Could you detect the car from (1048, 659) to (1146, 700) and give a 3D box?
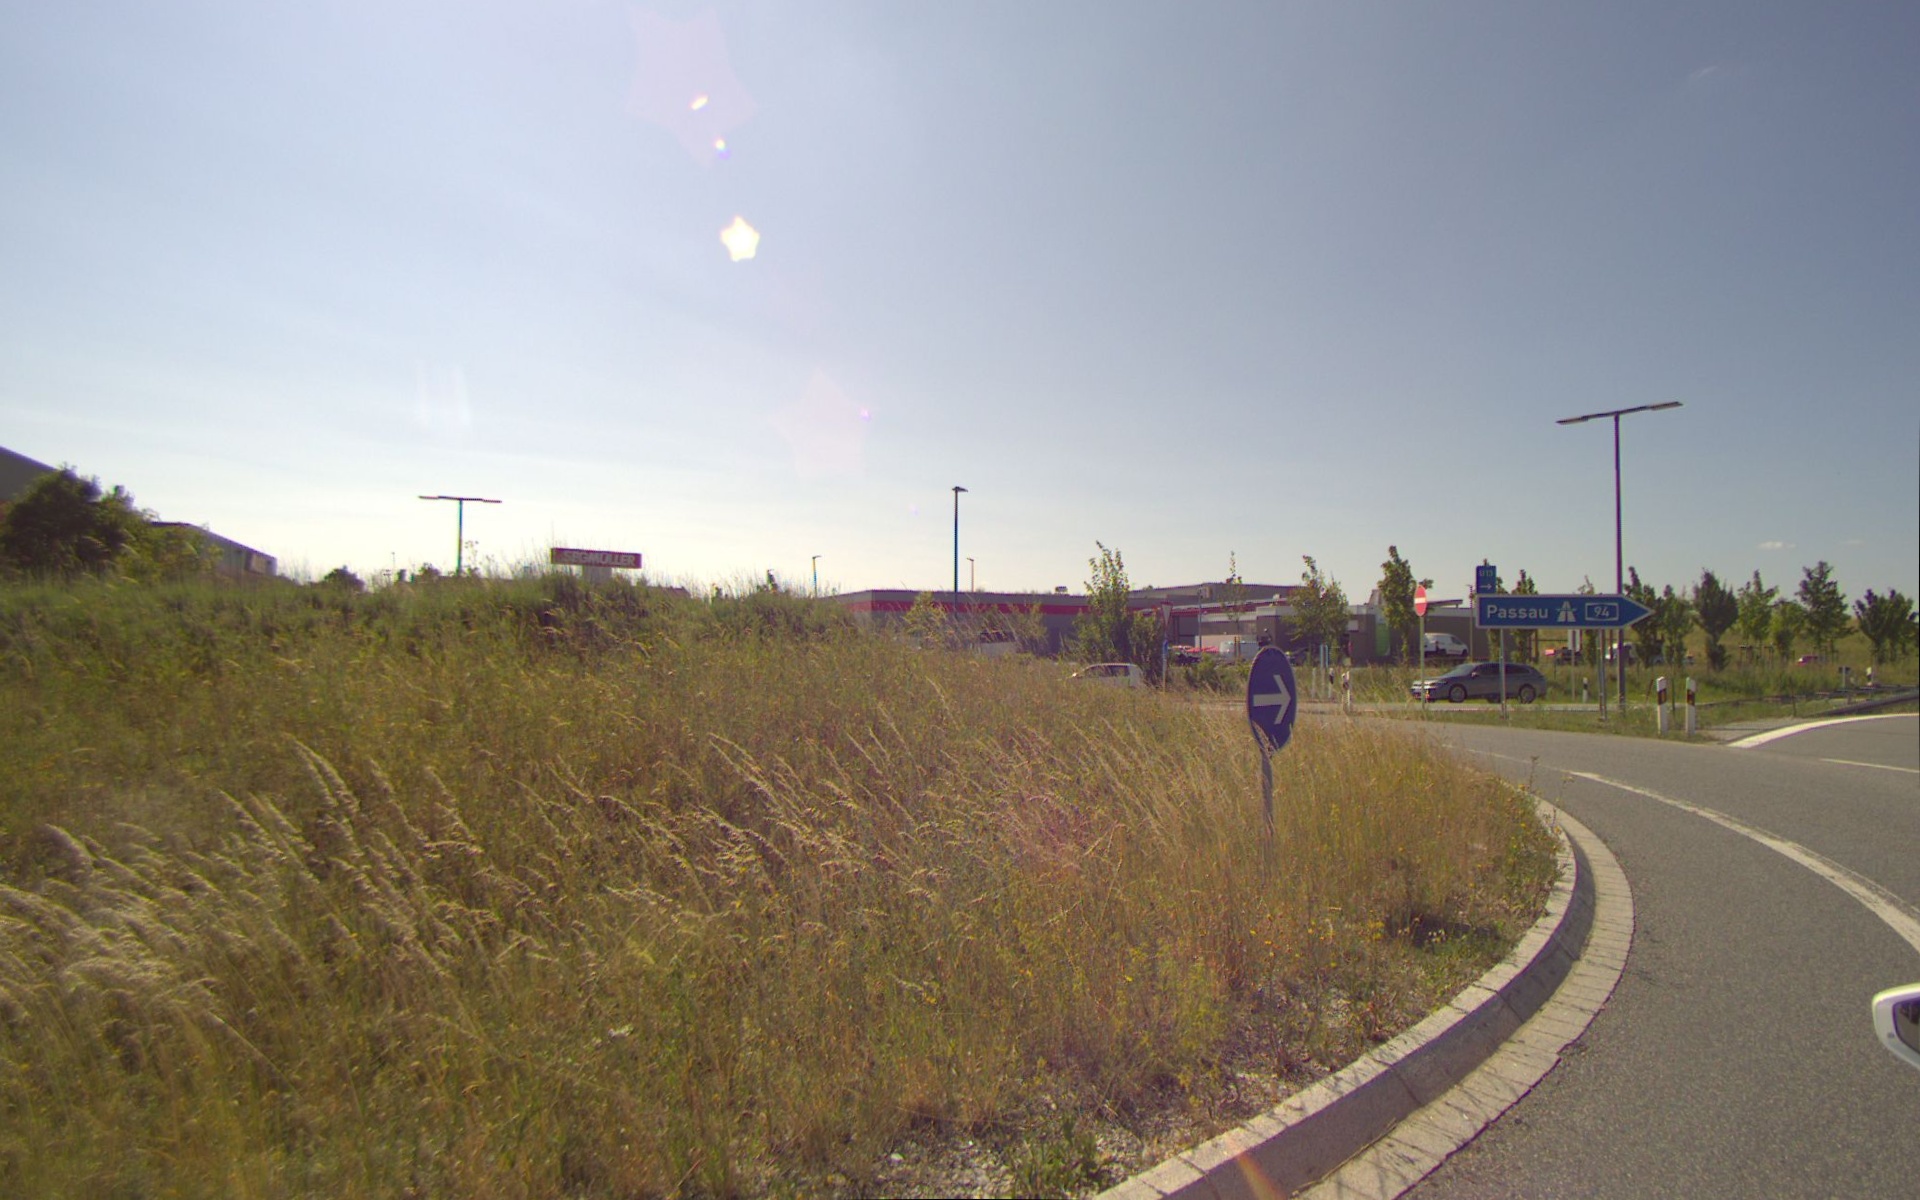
[{"bbox_3d":[5.149,2.946,37.566,3.510,1.432,1.695,0,-3,11],"label":"car"}]

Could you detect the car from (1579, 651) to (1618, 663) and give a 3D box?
[{"bbox_3d":[57.024,5.076,89.703,1.232,1.022,2.688,2,-3,-30],"label":"car"}]

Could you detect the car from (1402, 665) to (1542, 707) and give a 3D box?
[{"bbox_3d":[18.413,3.059,36.193,4.286,1.432,1.692,1,-3,-9],"label":"car"}]

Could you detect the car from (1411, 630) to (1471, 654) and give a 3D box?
[{"bbox_3d":[35.875,3.163,74.899,3.946,1.754,1.988,1,-3,-25],"label":"car"}]

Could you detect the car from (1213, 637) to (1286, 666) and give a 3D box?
[{"bbox_3d":[20.968,3.742,72.650,5.069,2.040,1.987,1,-3,-27],"label":"car"}]
